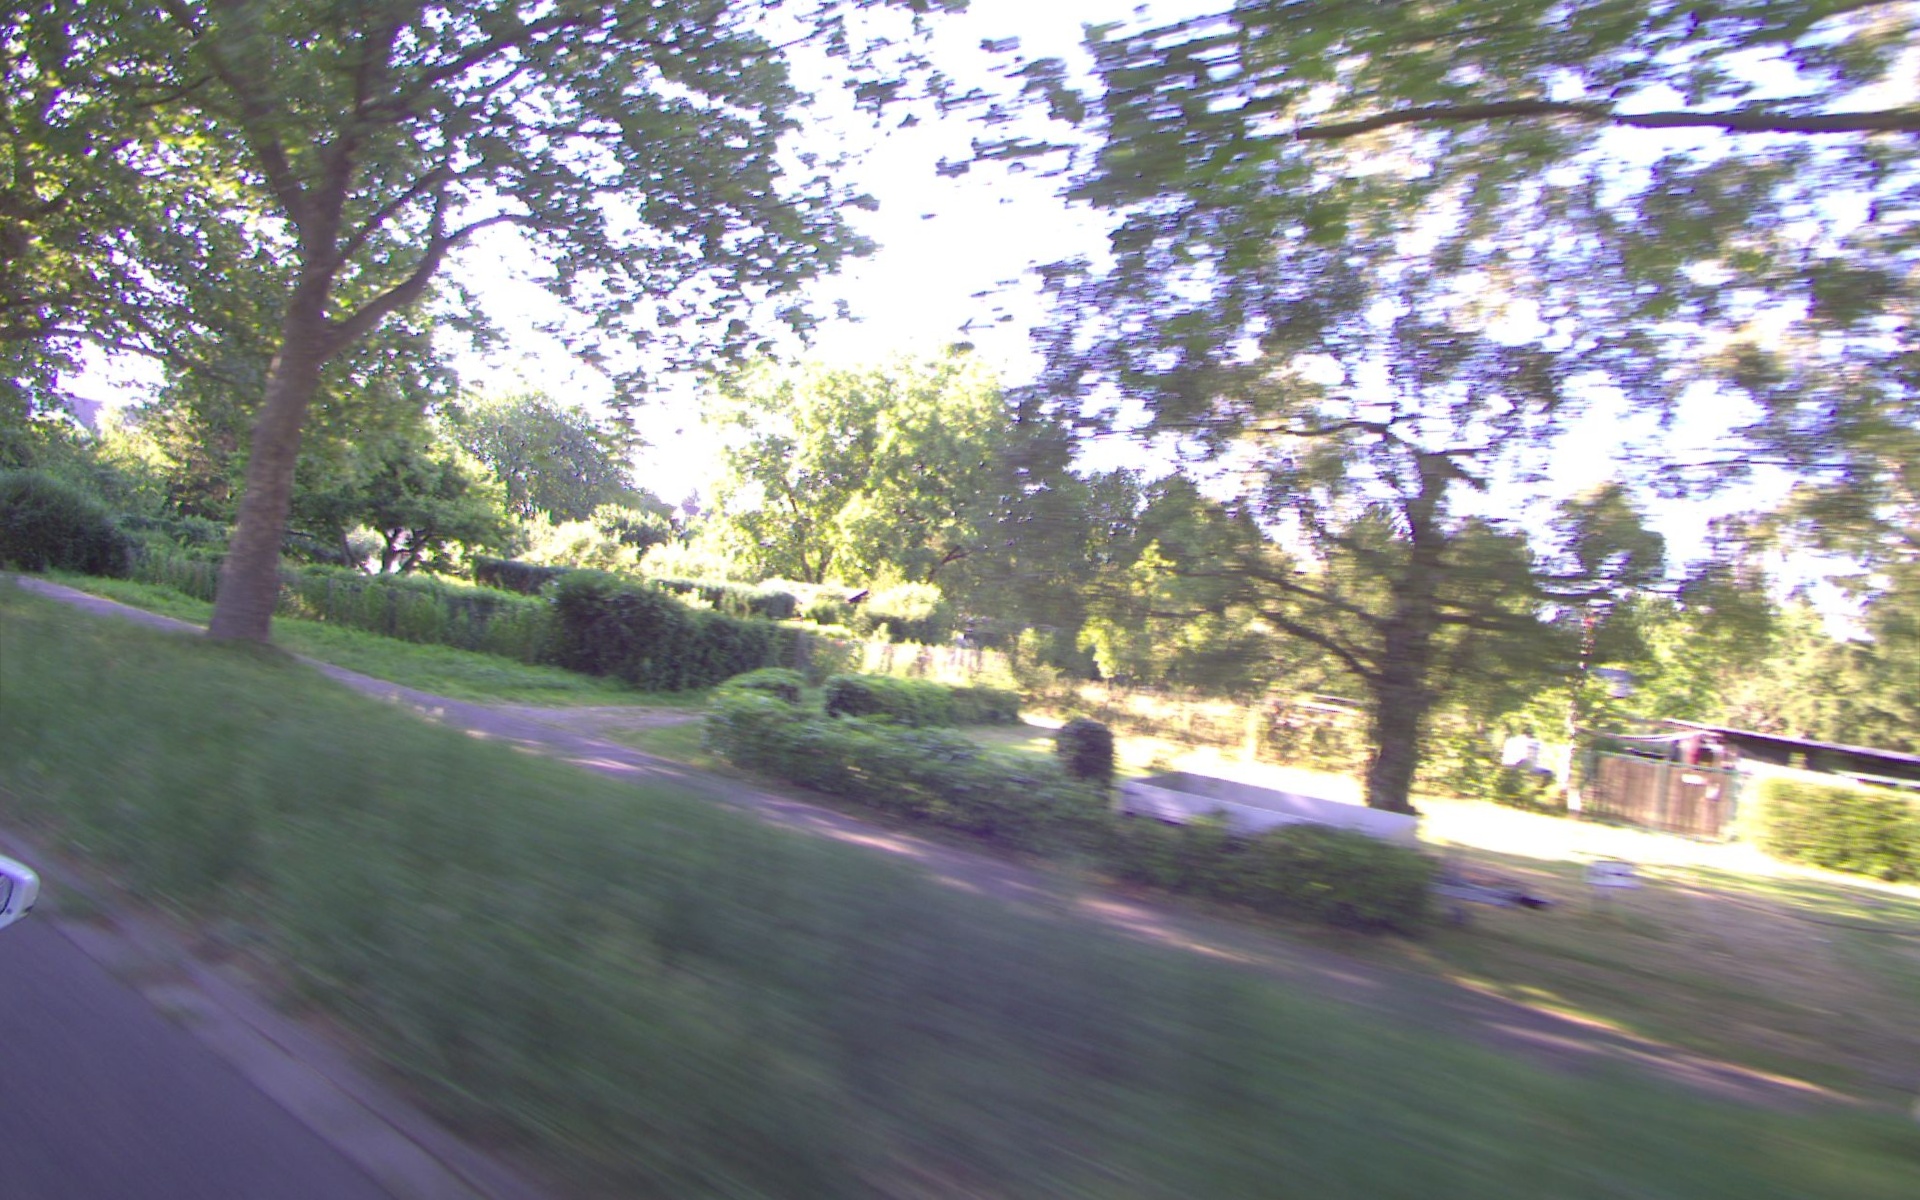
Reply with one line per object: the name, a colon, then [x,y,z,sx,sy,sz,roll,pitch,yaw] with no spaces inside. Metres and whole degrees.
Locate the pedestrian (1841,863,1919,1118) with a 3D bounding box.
pedestrian: [6.973,2.768,7.010,0.770,1.594,0.845,7,-1,2]

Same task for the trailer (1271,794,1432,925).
trailer: [4.639,2.966,11.823,1.182,1.064,2.119,6,-3,36]
